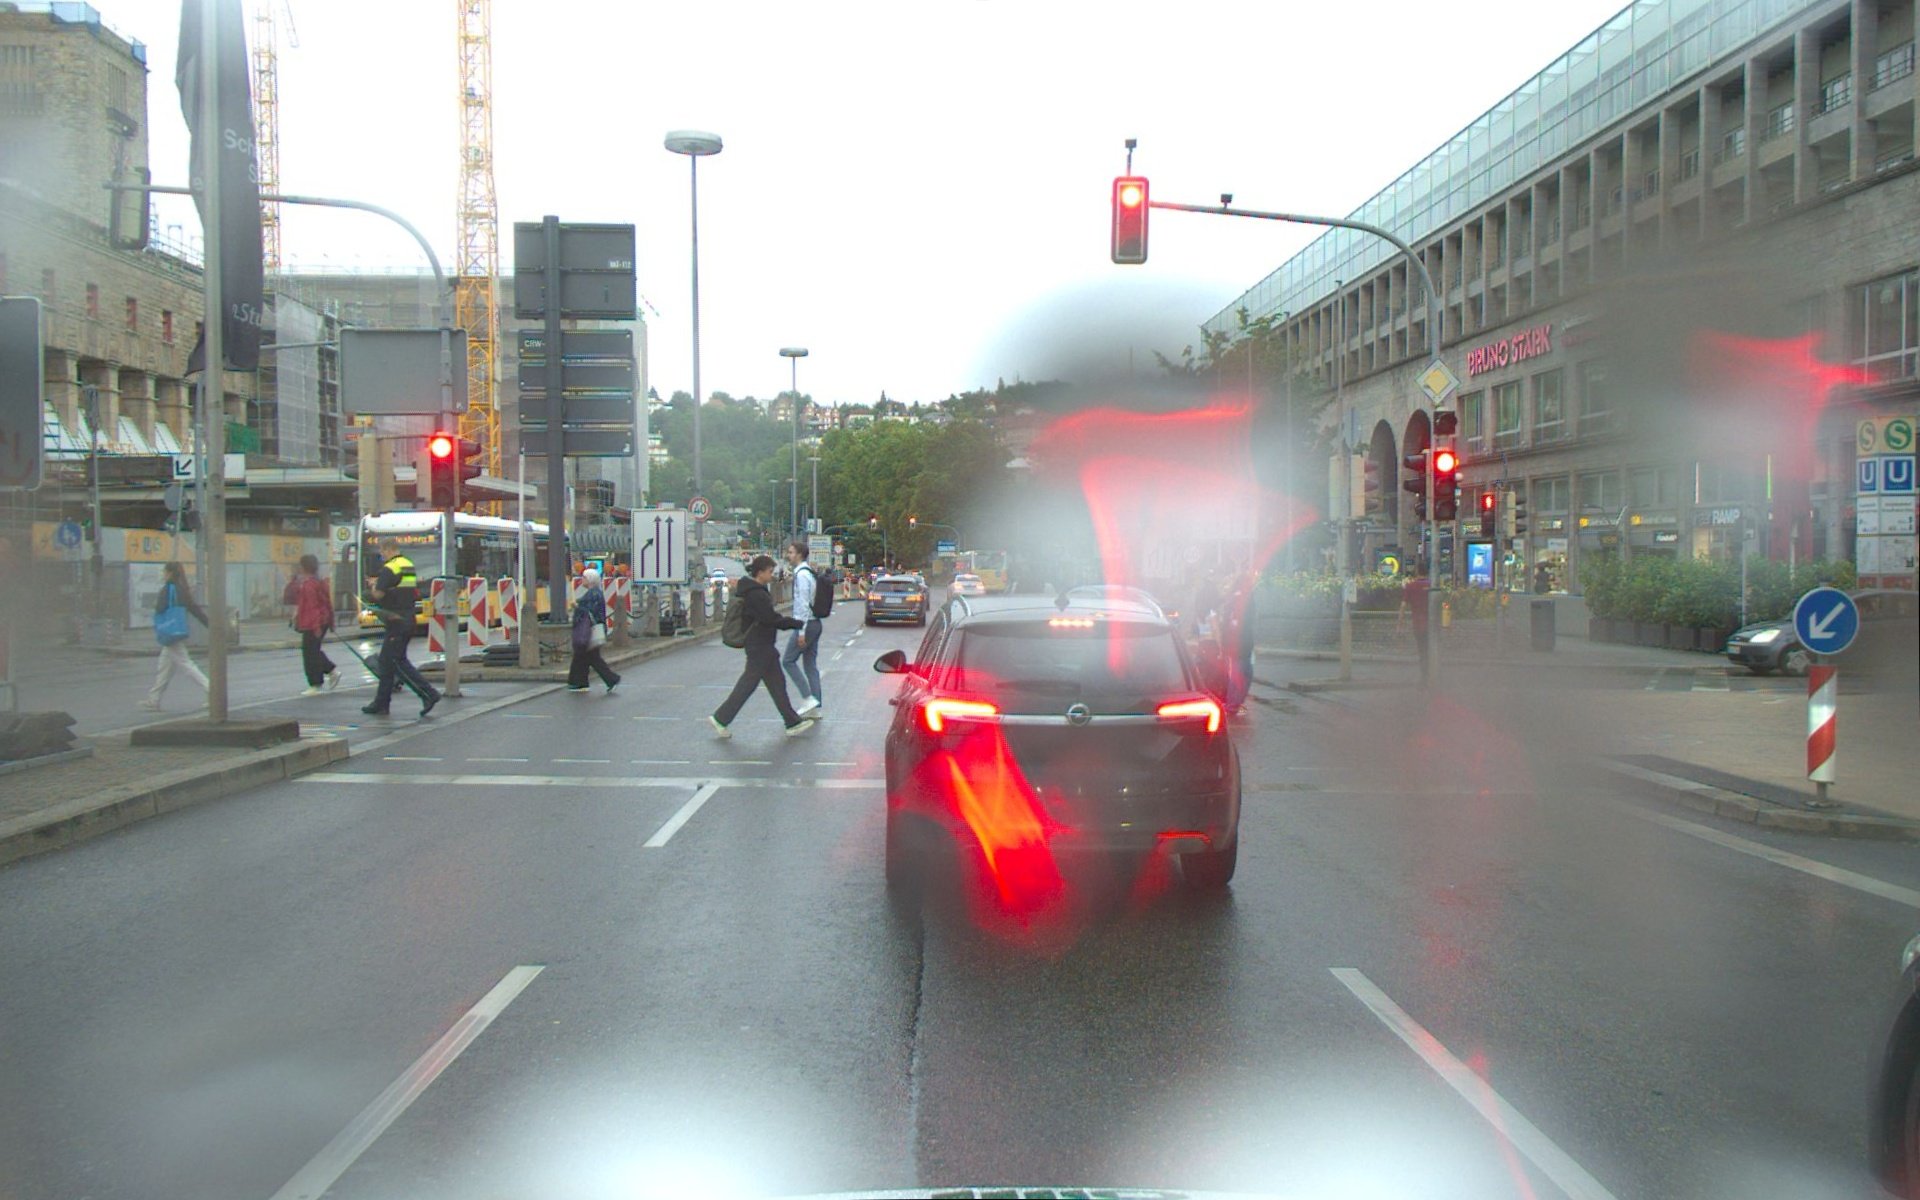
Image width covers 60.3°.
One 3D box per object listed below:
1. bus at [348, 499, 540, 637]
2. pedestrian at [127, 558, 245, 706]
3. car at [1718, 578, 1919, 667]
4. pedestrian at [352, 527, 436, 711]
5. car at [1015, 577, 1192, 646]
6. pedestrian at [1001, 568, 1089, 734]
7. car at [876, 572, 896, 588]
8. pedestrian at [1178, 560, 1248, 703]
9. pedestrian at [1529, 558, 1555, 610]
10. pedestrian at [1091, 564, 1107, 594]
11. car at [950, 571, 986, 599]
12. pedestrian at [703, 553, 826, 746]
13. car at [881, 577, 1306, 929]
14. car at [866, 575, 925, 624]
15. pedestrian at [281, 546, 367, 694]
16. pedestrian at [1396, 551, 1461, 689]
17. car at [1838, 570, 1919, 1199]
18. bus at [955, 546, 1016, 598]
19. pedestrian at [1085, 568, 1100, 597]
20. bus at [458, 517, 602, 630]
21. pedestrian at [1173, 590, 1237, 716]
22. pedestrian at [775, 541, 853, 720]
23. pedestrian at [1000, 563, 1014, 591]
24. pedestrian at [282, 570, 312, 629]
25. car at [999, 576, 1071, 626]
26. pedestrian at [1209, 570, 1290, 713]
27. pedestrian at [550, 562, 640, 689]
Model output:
[{"bbox_3d":[-15.208,-0.865,49.718,2.614,3.665,10.237,1,0,-1],"label":"bus"},{"bbox_3d":[-8.619,0.347,18.455,0.897,1.591,0.899,1,0,-4],"label":"pedestrian"},{"bbox_3d":[15.124,0.384,28.185,3.578,1.422,1.852,1,0,3],"label":"car"},{"bbox_3d":[-5.913,0.194,17.321,0.566,1.868,0.820,1,0,-1],"label":"pedestrian"},{"bbox_3d":[3.067,0.221,36.429,1.732,1.422,4.609,1,0,-27],"label":"car"},{"bbox_3d":[0.867,0.510,17.025,0.778,1.654,0.899,1,0,-4],"label":"pedestrian"},{"bbox_3d":[-6.777,-1.854,151.504,1.723,1.422,3.563,1,0,-1],"label":"car"},{"bbox_3d":[3.138,0.386,20.544,0.740,1.747,0.466,1,0,-5],"label":"pedestrian"},{"bbox_3d":[23.397,-0.631,66.500,0.747,2.049,0.825,1,0,-1],"label":"pedestrian"},{"bbox_3d":[8.057,-1.193,95.749,0.748,1.720,0.824,1,0,-5],"label":"pedestrian"},{"bbox_3d":[0.417,-0.766,88.127,1.808,1.422,3.563,1,0,-1],"label":"car"},{"bbox_3d":[-1.869,0.463,15.916,1.074,1.782,0.653,-2,0,-4],"label":"pedestrian"},{"bbox_3d":[0.543,0.666,9.226,1.837,1.512,3.999,1,0,-1],"label":"car"},{"bbox_3d":[-1.966,-0.018,50.749,1.718,1.422,4.536,1,0,-2],"label":"car"},{"bbox_3d":[-7.687,0.236,20.020,0.783,1.747,0.619,-1,0,-4],"label":"pedestrian"},{"bbox_3d":[6.187,0.258,21.834,0.560,1.783,0.676,1,0,42],"label":"pedestrian"},{"bbox_3d":[3.076,0.718,1.761,1.757,1.528,4.627,1,0,-1],"label":"car"},{"bbox_3d":[1.751,-1.979,122.503,4.089,3.529,14.651,1,0,-1],"label":"bus"},{"bbox_3d":[7.761,-1.021,97.102,0.748,1.720,0.824,1,0,-5],"label":"pedestrian"},{"bbox_3d":[-15.360,-0.890,59.901,2.614,3.665,10.209,1,0,-1],"label":"bus"},{"bbox_3d":[2.956,0.635,19.979,0.665,1.500,0.366,1,0,-6],"label":"pedestrian"},{"bbox_3d":[-1.608,0.329,18.123,0.784,1.923,0.619,1,0,-9],"label":"pedestrian"},{"bbox_3d":[4.120,-2.031,145.745,1.174,2.478,1.228,1,0,0],"label":"pedestrian"},{"bbox_3d":[-21.529,-0.029,53.731,0.648,1.887,0.798,0,0,-1],"label":"pedestrian"},{"bbox_3d":[2.278,0.022,50.941,1.718,1.422,4.398,1,0,-4],"label":"car"},{"bbox_3d":[3.386,0.481,19.375,0.783,1.636,0.619,1,0,-4],"label":"pedestrian"},{"bbox_3d":[-4.698,0.323,21.300,0.866,1.588,0.777,1,0,-37],"label":"pedestrian"}]
